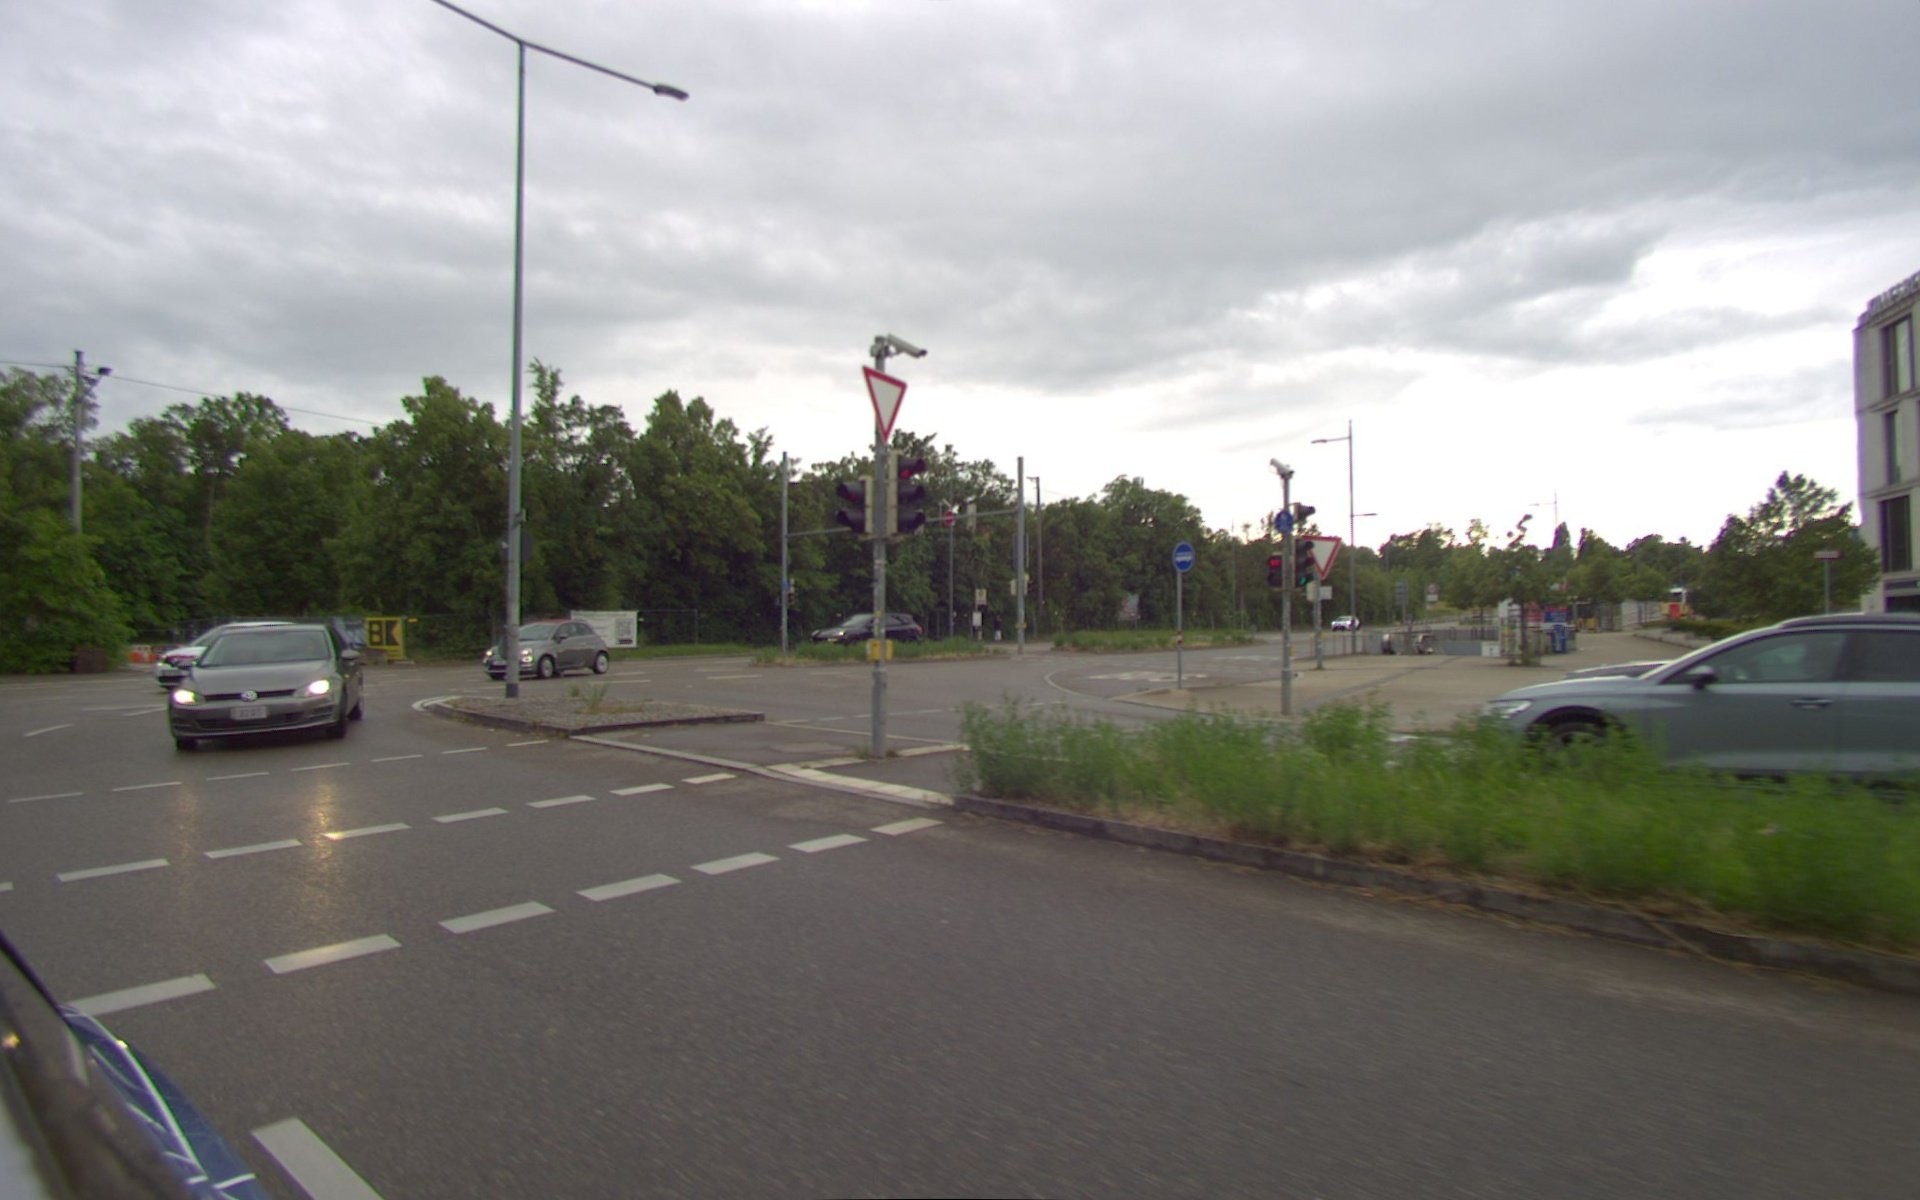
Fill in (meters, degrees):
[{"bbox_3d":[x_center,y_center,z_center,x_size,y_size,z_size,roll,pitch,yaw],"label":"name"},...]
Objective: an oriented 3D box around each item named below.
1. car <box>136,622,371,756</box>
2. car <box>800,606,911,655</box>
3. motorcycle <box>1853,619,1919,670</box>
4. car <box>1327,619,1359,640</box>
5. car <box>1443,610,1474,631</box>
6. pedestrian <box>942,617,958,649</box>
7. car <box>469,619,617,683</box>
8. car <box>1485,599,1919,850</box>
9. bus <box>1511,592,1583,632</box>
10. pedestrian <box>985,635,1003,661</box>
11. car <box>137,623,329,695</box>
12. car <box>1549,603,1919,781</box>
[{"bbox_3d":[-9.078,1.039,13.368,1.873,1.450,4.013,-1,-1,-25],"label":"car"},{"bbox_3d":[-3.947,1.144,38.636,1.907,1.785,3.945,-2,-2,42],"label":"car"},{"bbox_3d":[26.207,1.244,28.314,1.752,1.413,0.521,-3,-2,37],"label":"motorcycle"},{"bbox_3d":[37.901,2.936,100.128,1.996,2.029,3.951,-1,-2,36],"label":"car"},{"bbox_3d":[51.912,2.124,105.364,1.998,2.029,3.947,-3,-2,39],"label":"car"},{"bbox_3d":[-0.614,2.012,61.576,0.677,1.898,0.690,-2,-2,42],"label":"pedestrian"},{"bbox_3d":[-10.832,1.288,26.547,1.658,1.541,3.635,-1,-1,18],"label":"car"},{"bbox_3d":[6.404,0.811,7.411,4.164,1.587,1.828,-4,-2,43],"label":"car"},{"bbox_3d":[46.821,0.961,80.536,2.881,3.012,9.865,-2,-2,42],"label":"bus"},{"bbox_3d":[2.252,3.115,66.293,0.822,1.688,0.820,-2,-2,42],"label":"pedestrian"},{"bbox_3d":[-16.880,1.329,23.705,1.627,1.532,3.569,-1,-1,9],"label":"car"},{"bbox_3d":[8.324,0.858,9.956,4.063,1.531,1.805,-3,-4,42],"label":"car"}]
